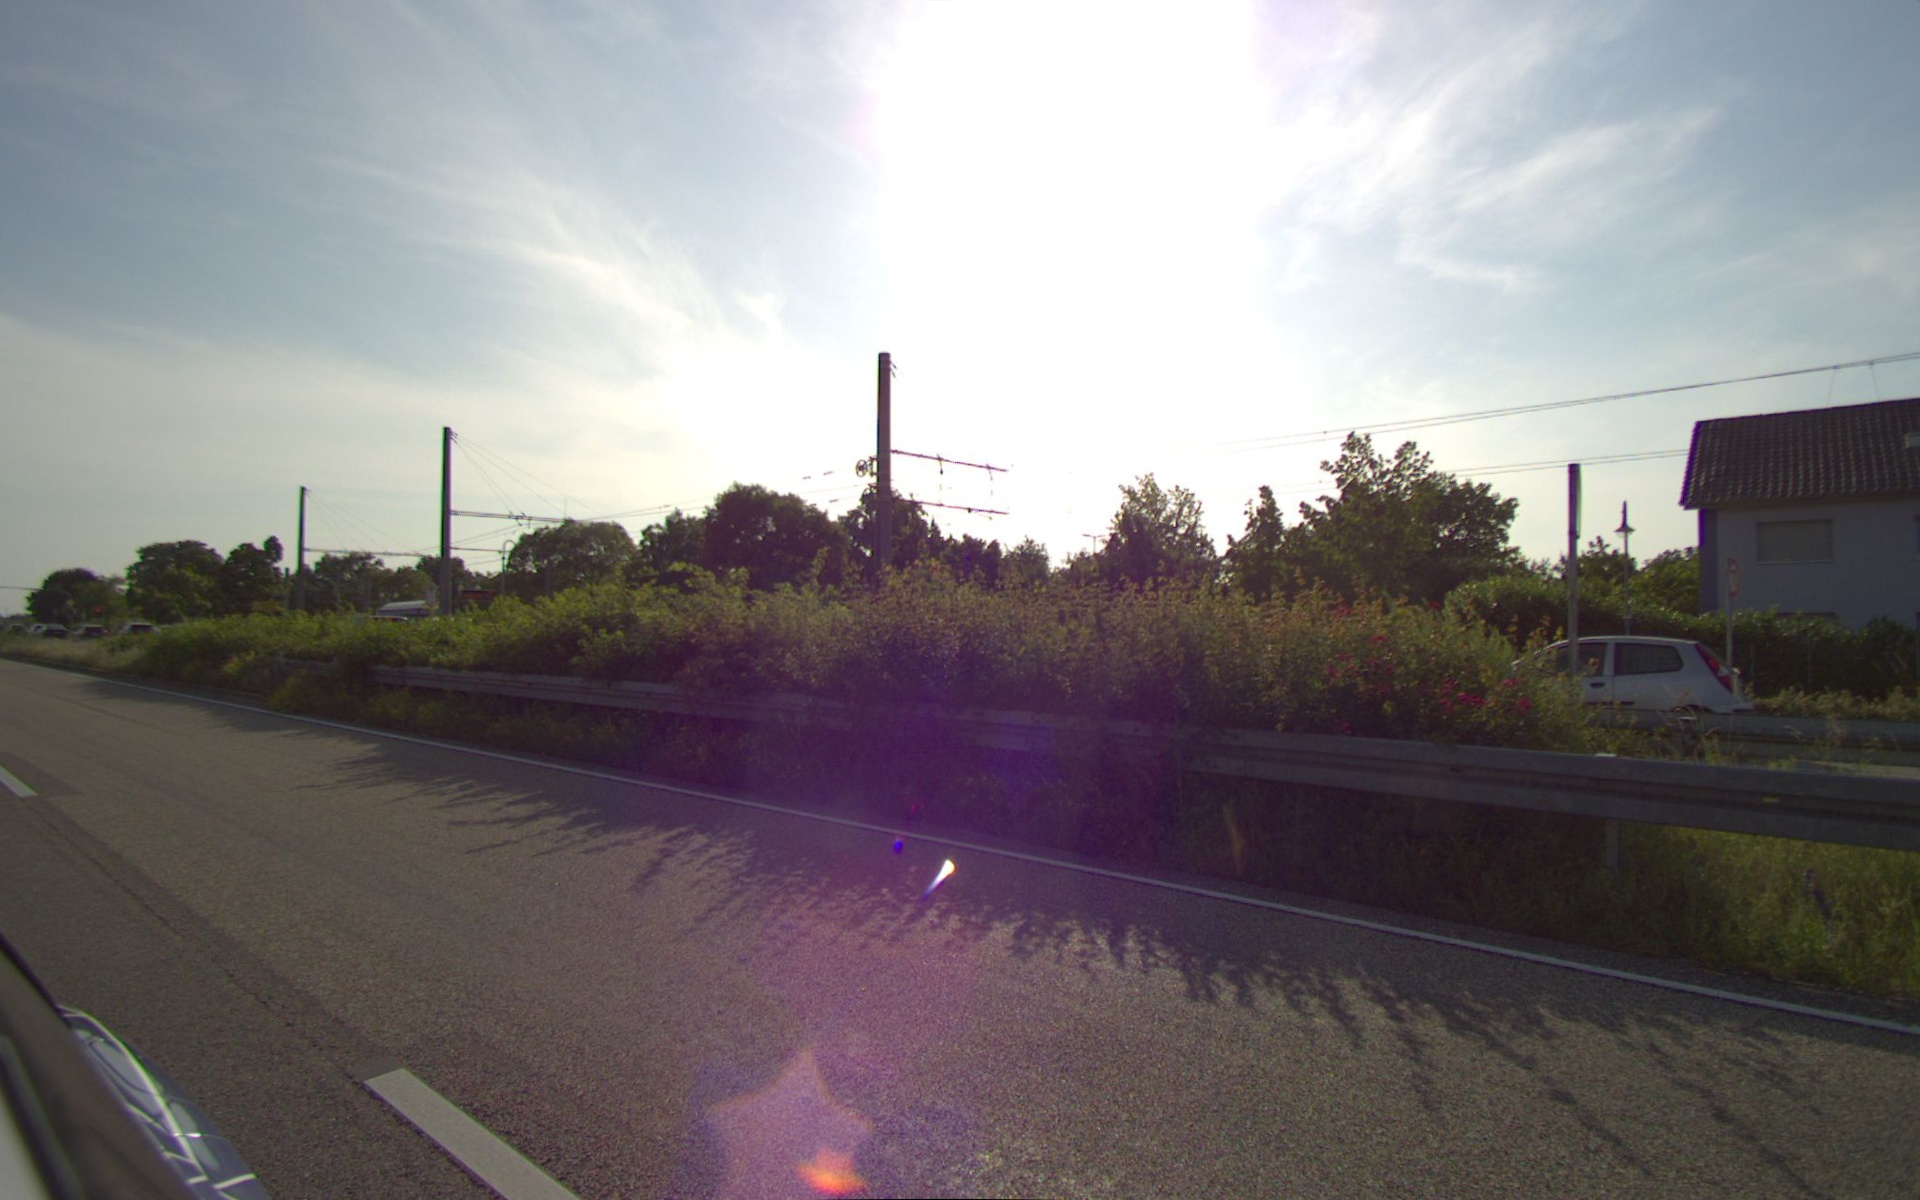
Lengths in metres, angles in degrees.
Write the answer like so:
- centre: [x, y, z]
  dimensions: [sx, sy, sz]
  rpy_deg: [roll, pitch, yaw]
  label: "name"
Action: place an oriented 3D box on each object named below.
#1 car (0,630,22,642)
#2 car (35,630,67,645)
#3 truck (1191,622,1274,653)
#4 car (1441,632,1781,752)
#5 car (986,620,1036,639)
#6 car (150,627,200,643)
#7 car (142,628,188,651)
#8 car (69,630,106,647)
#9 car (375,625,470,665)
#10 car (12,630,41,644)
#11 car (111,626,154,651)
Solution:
- centre: [-110.123, 4.176, 117.266]
  dimensions: [3.998, 1.391, 1.643]
  rpy_deg: [-1, -4, 41]
  label: "car"
- centre: [-86.341, 3.541, 96.099]
  dimensions: [4.972, 1.426, 1.643]
  rpy_deg: [-1, -4, 41]
  label: "car"
- centre: [21.328, 2.911, 79.345]
  dimensions: [5.890, 2.265, 2.004]
  rpy_deg: [-1, 0, -10]
  label: "truck"
- centre: [8.581, 1.147, 13.490]
  dimensions: [3.620, 1.377, 1.711]
  rpy_deg: [-1, -5, 41]
  label: "car"
- centre: [4.019, 2.318, 79.575]
  dimensions: [3.562, 1.377, 1.739]
  rpy_deg: [2, -4, -12]
  label: "car"
- centre: [-104.311, 4.599, 134.474]
  dimensions: [2.249, 1.901, 4.787]
  rpy_deg: [-1, 0, 36]
  label: "car"
- centre: [-52.341, 2.565, 66.580]
  dimensions: [3.803, 1.442, 1.643]
  rpy_deg: [-1, -4, 41]
  label: "car"
- centre: [-72.113, 3.187, 83.614]
  dimensions: [4.539, 1.391, 1.643]
  rpy_deg: [-1, -4, 41]
  label: "car"
- centre: [-20.553, 1.718, 38.632]
  dimensions: [4.446, 1.442, 1.643]
  rpy_deg: [-1, -4, 41]
  label: "car"
- centre: [-97.212, 3.812, 105.398]
  dimensions: [4.466, 1.391, 1.643]
  rpy_deg: [-1, -4, 41]
  label: "car"
- centre: [-60.099, 2.785, 73.471]
  dimensions: [4.226, 1.700, 1.643]
  rpy_deg: [-1, -4, 41]
  label: "car"
